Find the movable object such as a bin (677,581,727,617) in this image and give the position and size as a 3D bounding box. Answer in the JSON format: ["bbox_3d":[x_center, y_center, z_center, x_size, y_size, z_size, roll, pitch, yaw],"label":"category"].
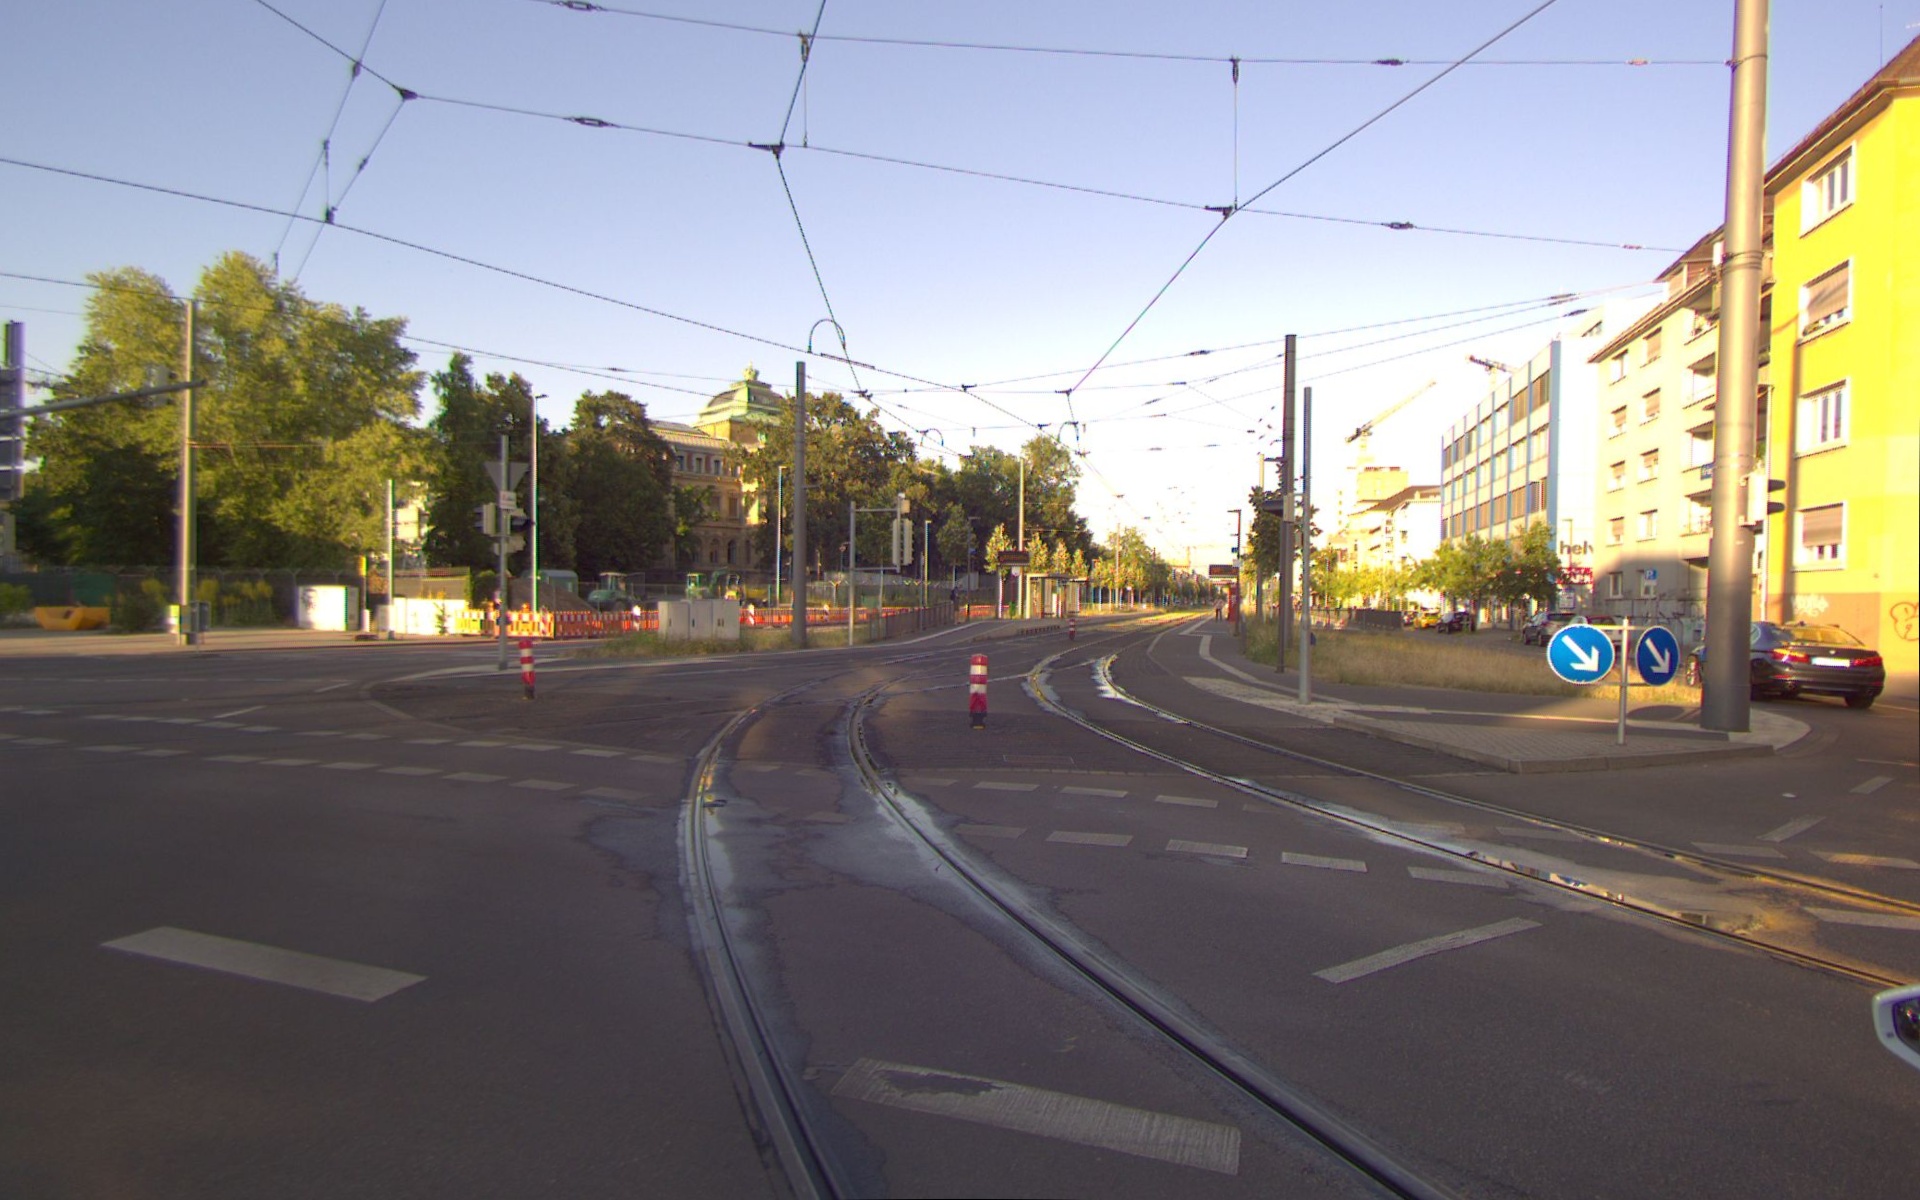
[{"bbox_3d":[-20.414,-0.073,79.572,1.960,2.742,4.001,1,0,17],"label":"movable object such as a bin"}]

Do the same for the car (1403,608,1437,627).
[{"bbox_3d":[36.335,1.356,79.366,1.655,1.474,4.132,1,0,13],"label":"car"}]

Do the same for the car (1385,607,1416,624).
[{"bbox_3d":[39.107,1.350,89.329,1.788,1.474,4.130,1,0,13],"label":"car"}]

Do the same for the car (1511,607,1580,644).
[{"bbox_3d":[27.959,1.183,48.131,1.727,1.676,4.530,-1,0,15],"label":"car"}]

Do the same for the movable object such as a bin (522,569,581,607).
[{"bbox_3d":[-30.180,-0.851,74.337,1.960,2.742,4.001,1,0,17],"label":"movable object such as a bin"}]

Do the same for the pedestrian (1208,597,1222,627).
[{"bbox_3d":[15.614,0.725,61.512,0.712,1.768,0.636,0,1,8],"label":"pedestrian"}]

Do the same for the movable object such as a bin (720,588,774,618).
[{"bbox_3d":[-16.636,0.253,78.796,1.960,2.276,4.940,1,0,17],"label":"movable object such as a bin"}]

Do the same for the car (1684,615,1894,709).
[{"bbox_3d":[15.509,1.070,19.082,1.828,1.482,4.191,2,0,22],"label":"car"}]

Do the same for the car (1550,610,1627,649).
[{"bbox_3d":[26.779,1.212,42.922,1.641,1.538,3.603,-1,0,13],"label":"car"}]

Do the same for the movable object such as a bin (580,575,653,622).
[{"bbox_3d":[-21.060,-0.088,61.718,1.964,2.742,3.994,1,0,28],"label":"movable object such as a bin"}]

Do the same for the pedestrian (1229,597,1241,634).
[{"bbox_3d":[13.764,0.766,50.269,0.463,1.811,0.626,1,0,23],"label":"pedestrian"}]

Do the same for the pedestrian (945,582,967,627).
[{"bbox_3d":[-0.176,0.195,41.467,0.682,1.822,0.817,1,0,17],"label":"pedestrian"}]

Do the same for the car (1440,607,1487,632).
[{"bbox_3d":[33.532,1.265,67.018,1.788,1.588,4.812,1,0,14],"label":"car"}]
